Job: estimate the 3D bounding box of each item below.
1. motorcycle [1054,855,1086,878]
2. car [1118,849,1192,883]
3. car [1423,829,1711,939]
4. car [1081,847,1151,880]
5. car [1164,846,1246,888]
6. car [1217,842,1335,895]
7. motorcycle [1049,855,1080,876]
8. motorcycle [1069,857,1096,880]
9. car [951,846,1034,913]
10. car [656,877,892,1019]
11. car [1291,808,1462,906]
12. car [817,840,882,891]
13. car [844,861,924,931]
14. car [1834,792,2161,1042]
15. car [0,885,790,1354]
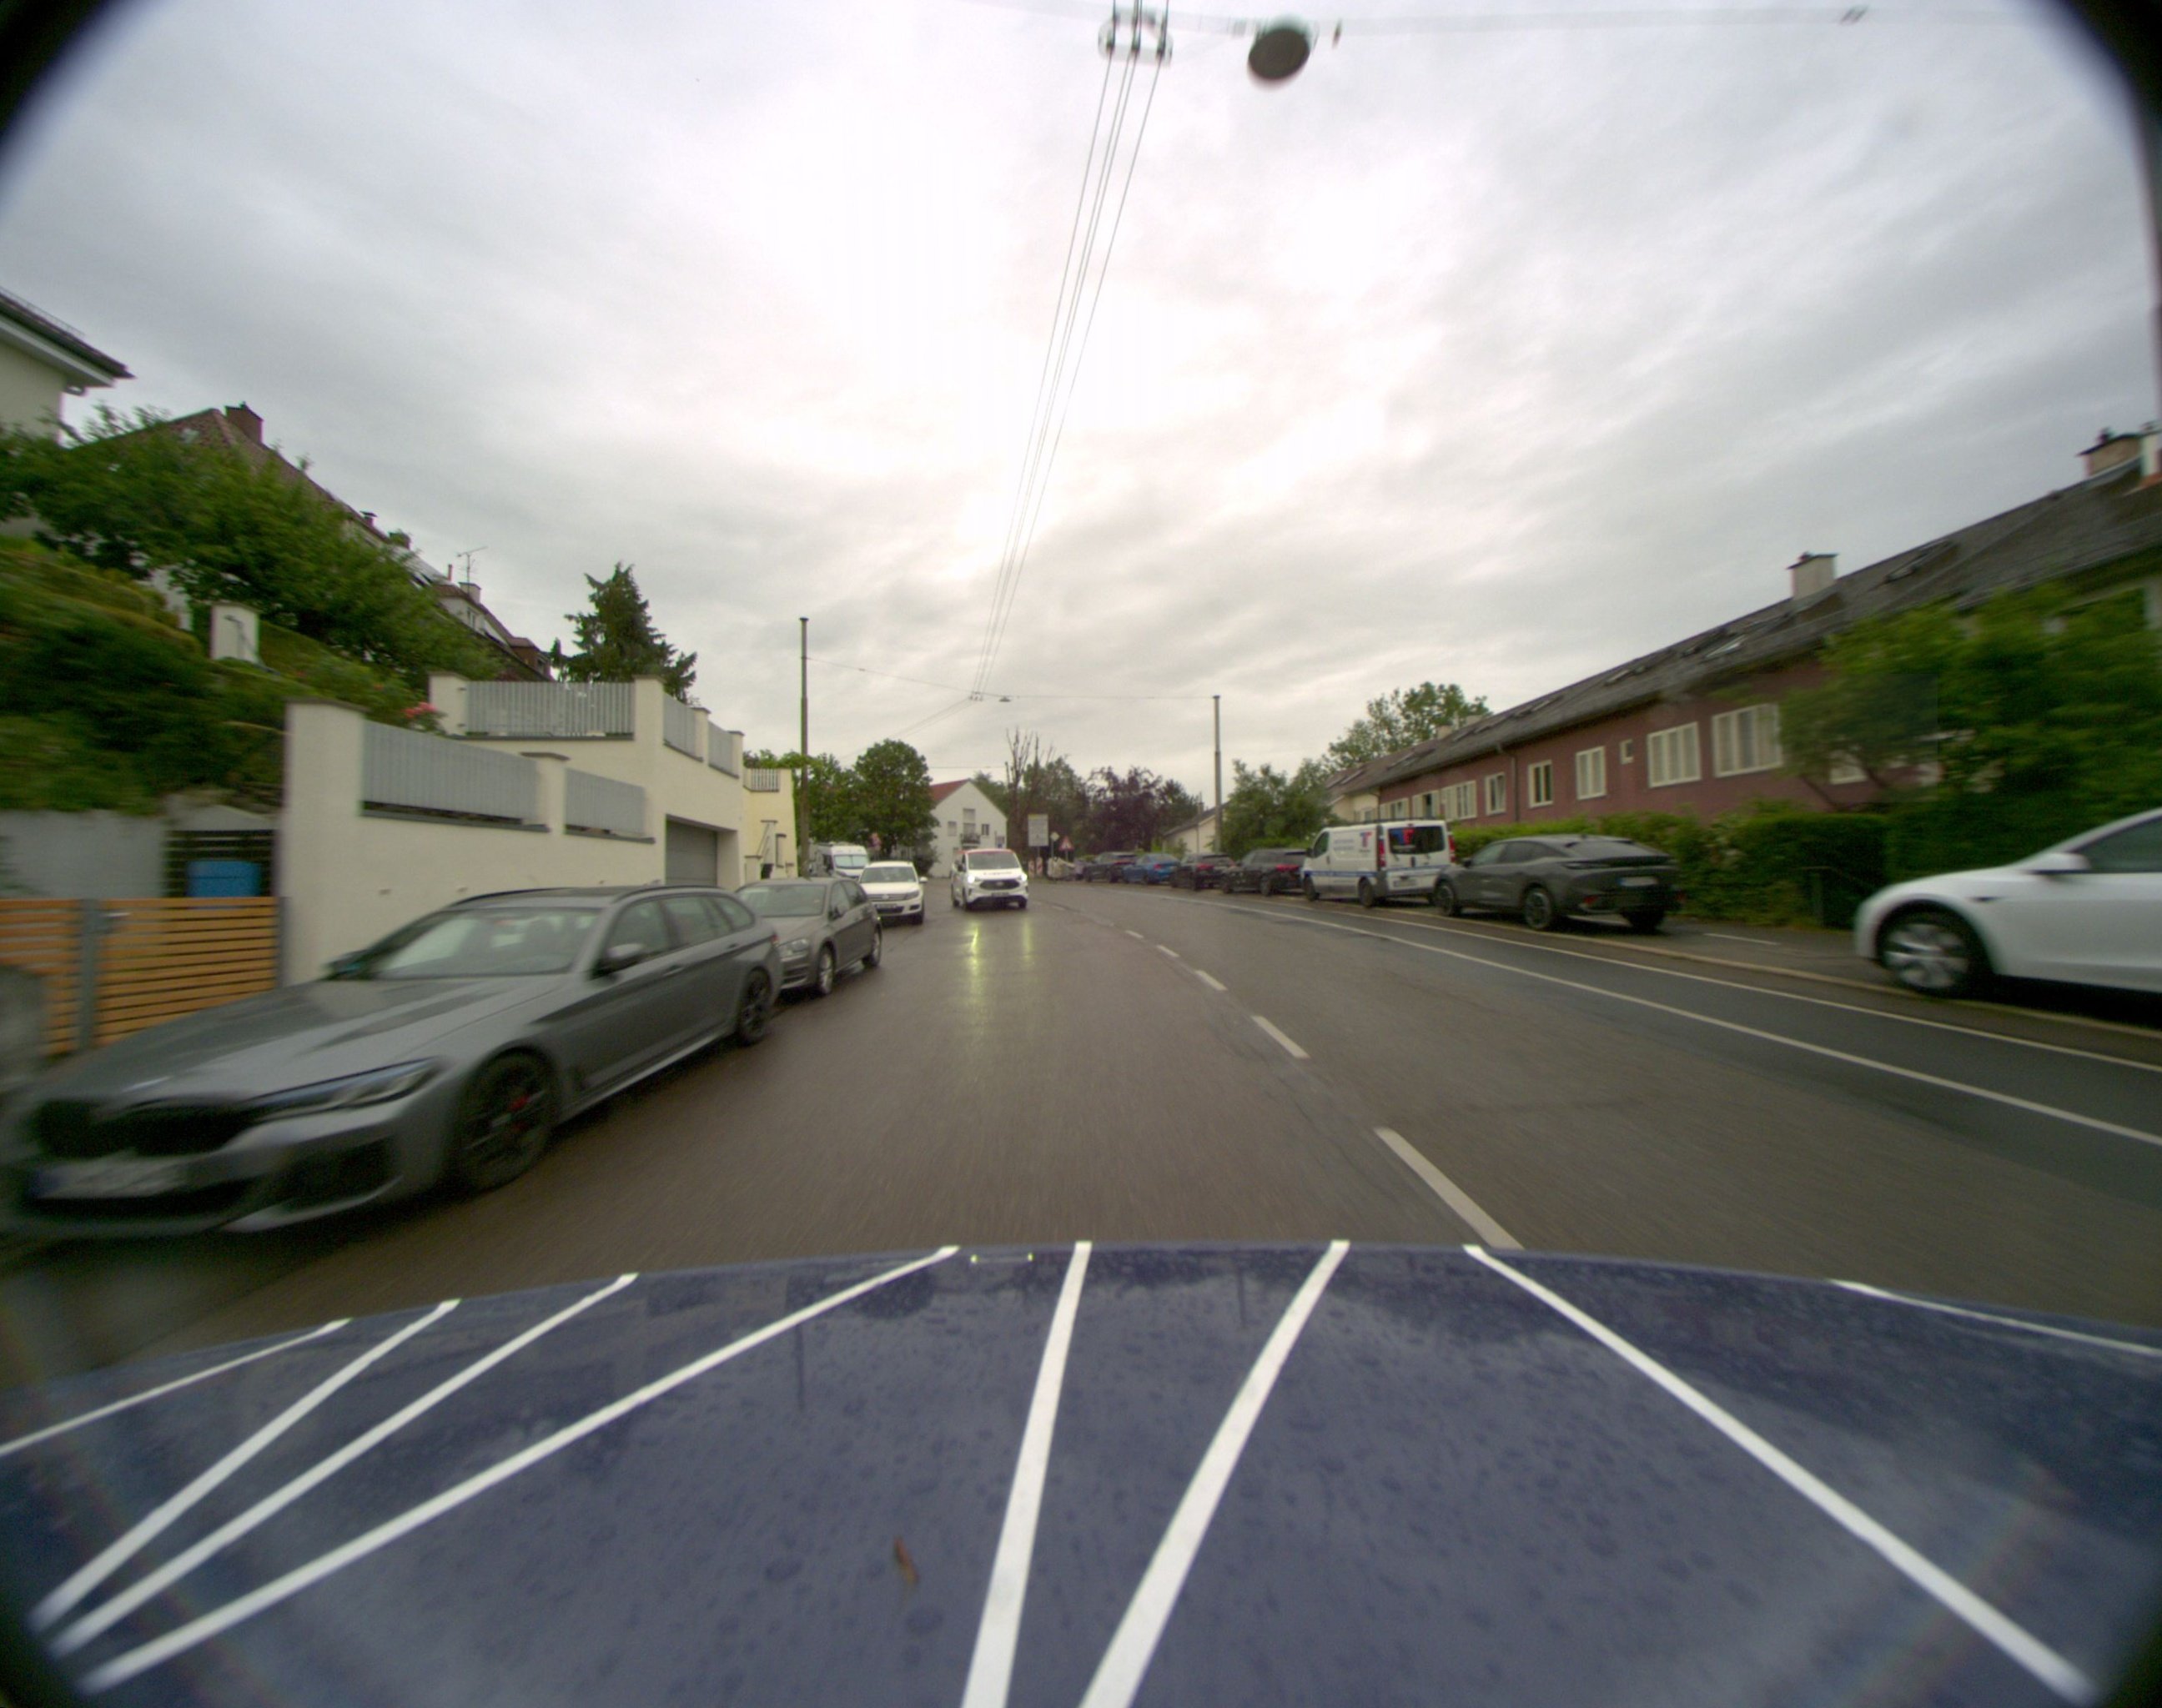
[{"bbox_3d":[-0.656,0.752,45.418,1.805,1.296,0.613,-2,1,3],"label":"motorcycle"},{"bbox_3d":[3.357,0.536,35.354,1.706,1.396,4.466,-3,0,-19],"label":"car"},{"bbox_3d":[7.799,0.403,12.844,1.813,1.468,4.521,-2,0,-2],"label":"car"},{"bbox_3d":[1.776,0.466,40.044,1.930,1.568,4.379,-3,1,-23],"label":"car"},{"bbox_3d":[4.817,0.477,30.144,1.814,1.468,4.518,-2,0,-9],"label":"car"},{"bbox_3d":[6.093,0.408,24.345,1.814,1.468,4.517,-2,0,-12],"label":"car"},{"bbox_3d":[-1.001,0.699,46.771,1.809,1.272,0.510,-1,0,-25],"label":"motorcycle"},{"bbox_3d":[0.090,0.817,44.229,0.574,1.264,1.910,-2,1,34],"label":"motorcycle"},{"bbox_3d":[-3.049,0.791,25.294,2.044,1.928,4.509,-3,0,-15],"label":"car"},{"bbox_3d":[-3.927,1.108,10.539,1.645,1.428,4.173,-2,0,-2],"label":"car"},{"bbox_3d":[7.158,0.049,19.073,1.854,2.067,5.017,-2,0,-6],"label":"car"},{"bbox_3d":[-12.471,0.555,40.624,2.109,2.527,5.605,1,0,-30],"label":"car"},{"bbox_3d":[-5.260,1.042,20.763,1.809,1.639,4.206,-1,0,-11],"label":"car"},{"bbox_3d":[7.968,0.382,4.687,1.934,1.621,4.676,-2,1,-1],"label":"car"},{"bbox_3d":[-3.805,1.089,5.158,1.794,1.487,4.705,-2,0,0],"label":"car"}]
